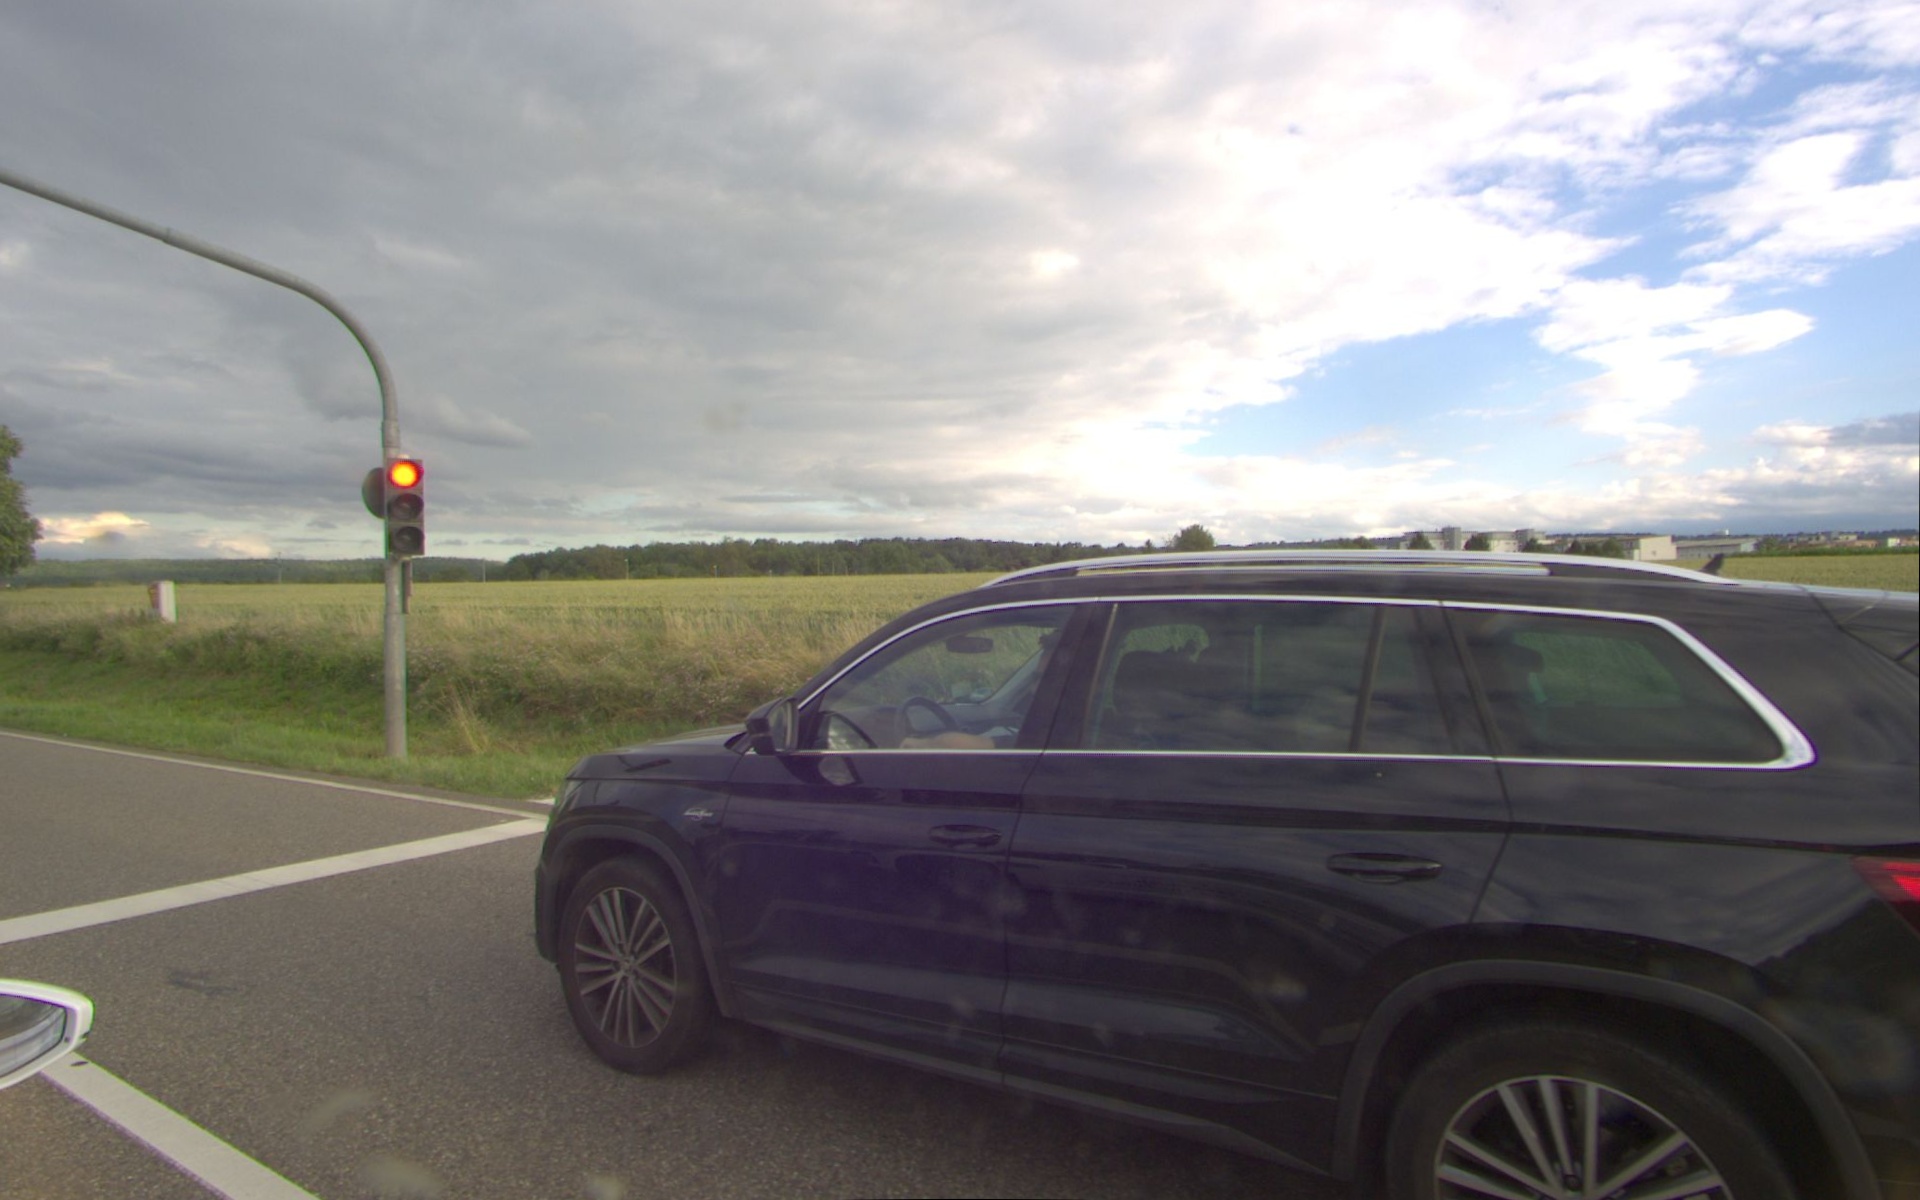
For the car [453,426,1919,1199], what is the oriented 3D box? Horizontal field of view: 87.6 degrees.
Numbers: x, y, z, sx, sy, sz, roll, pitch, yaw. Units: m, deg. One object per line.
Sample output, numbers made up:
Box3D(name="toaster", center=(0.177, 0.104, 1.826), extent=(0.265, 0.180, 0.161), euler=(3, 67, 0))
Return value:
Box3D(name="car", center=(0.489, 0.660, 3.310), extent=(4.492, 1.730, 1.833), euler=(-1, -2, 32))
